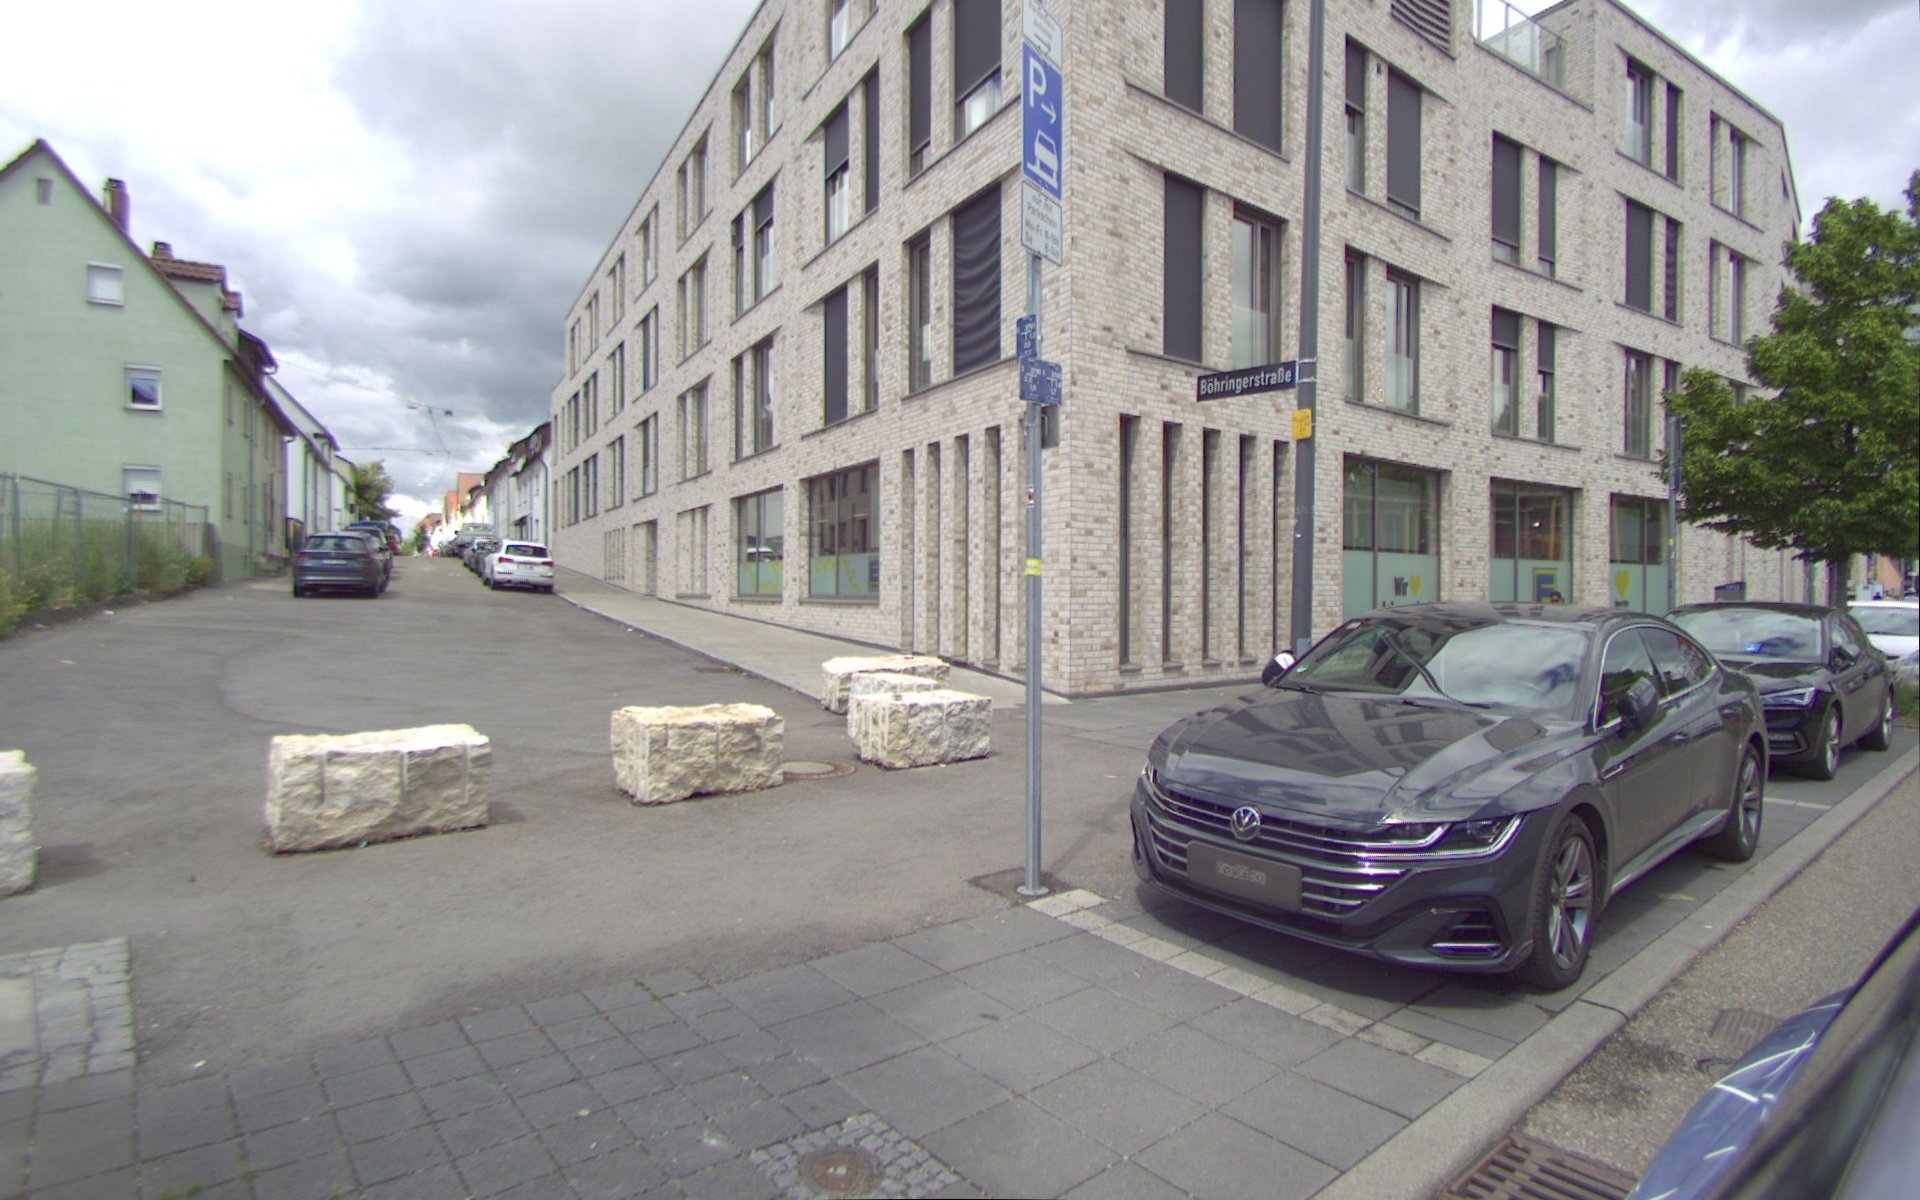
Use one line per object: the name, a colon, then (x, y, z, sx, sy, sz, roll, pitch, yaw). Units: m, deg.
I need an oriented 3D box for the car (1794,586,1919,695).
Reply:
car: (14.698, 0.551, 15.904, 3.729, 1.502, 1.697, -1, 3, -39)

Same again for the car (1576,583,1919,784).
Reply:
car: (7.596, 0.607, 9.616, 4.072, 1.479, 1.697, -1, 3, -39)

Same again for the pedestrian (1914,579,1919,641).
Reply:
pedestrian: (28.184, 0.289, 29.394, 0.725, 1.788, 0.622, -2, 3, -44)

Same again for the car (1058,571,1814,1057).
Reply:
car: (2.782, 0.619, 5.322, 4.562, 1.469, 1.869, -1, 3, -41)

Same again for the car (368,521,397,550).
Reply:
car: (-44.951, -5.026, 78.887, 1.788, 2.095, 4.008, 2, 3, -28)

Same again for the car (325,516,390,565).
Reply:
car: (-23.730, -2.359, 39.982, 1.959, 1.771, 4.008, 1, 3, -28)

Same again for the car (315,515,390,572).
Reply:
car: (-20.744, -1.941, 34.688, 1.959, 1.771, 4.008, 1, 3, -28)

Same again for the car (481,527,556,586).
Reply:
car: (-14.501, -1.471, 33.135, 1.831, 1.625, 4.270, 4, 3, -28)

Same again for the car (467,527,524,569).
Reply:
car: (-20.293, -2.290, 44.090, 1.959, 1.571, 4.008, 3, 2, -28)

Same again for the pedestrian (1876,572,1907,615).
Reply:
pedestrian: (38.232, -0.271, 41.547, 0.620, 1.713, 0.660, 0, 1, 0)

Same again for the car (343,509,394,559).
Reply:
car: (-27.058, -3.031, 46.395, 1.788, 2.095, 4.008, 2, 3, -28)

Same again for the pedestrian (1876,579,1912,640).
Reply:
pedestrian: (28.158, 0.262, 30.508, 0.755, 1.788, 0.723, 1, 3, 44)

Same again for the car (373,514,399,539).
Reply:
car: (-50.315, -6.418, 88.765, 1.788, 2.095, 4.008, 2, 3, -28)

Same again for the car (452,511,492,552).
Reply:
car: (-31.084, -4.383, 64.371, 1.959, 2.360, 5.084, 3, 2, -28)

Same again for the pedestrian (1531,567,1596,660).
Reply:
pedestrian: (9.994, 0.217, 16.769, 0.775, 1.491, 0.610, 0, 2, -32)

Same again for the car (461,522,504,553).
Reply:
car: (-27.762, -3.639, 58.769, 1.959, 1.571, 4.008, 3, 2, -28)

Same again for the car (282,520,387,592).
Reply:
car: (-15.844, -1.166, 25.824, 1.830, 1.625, 4.270, 1, 3, -26)
